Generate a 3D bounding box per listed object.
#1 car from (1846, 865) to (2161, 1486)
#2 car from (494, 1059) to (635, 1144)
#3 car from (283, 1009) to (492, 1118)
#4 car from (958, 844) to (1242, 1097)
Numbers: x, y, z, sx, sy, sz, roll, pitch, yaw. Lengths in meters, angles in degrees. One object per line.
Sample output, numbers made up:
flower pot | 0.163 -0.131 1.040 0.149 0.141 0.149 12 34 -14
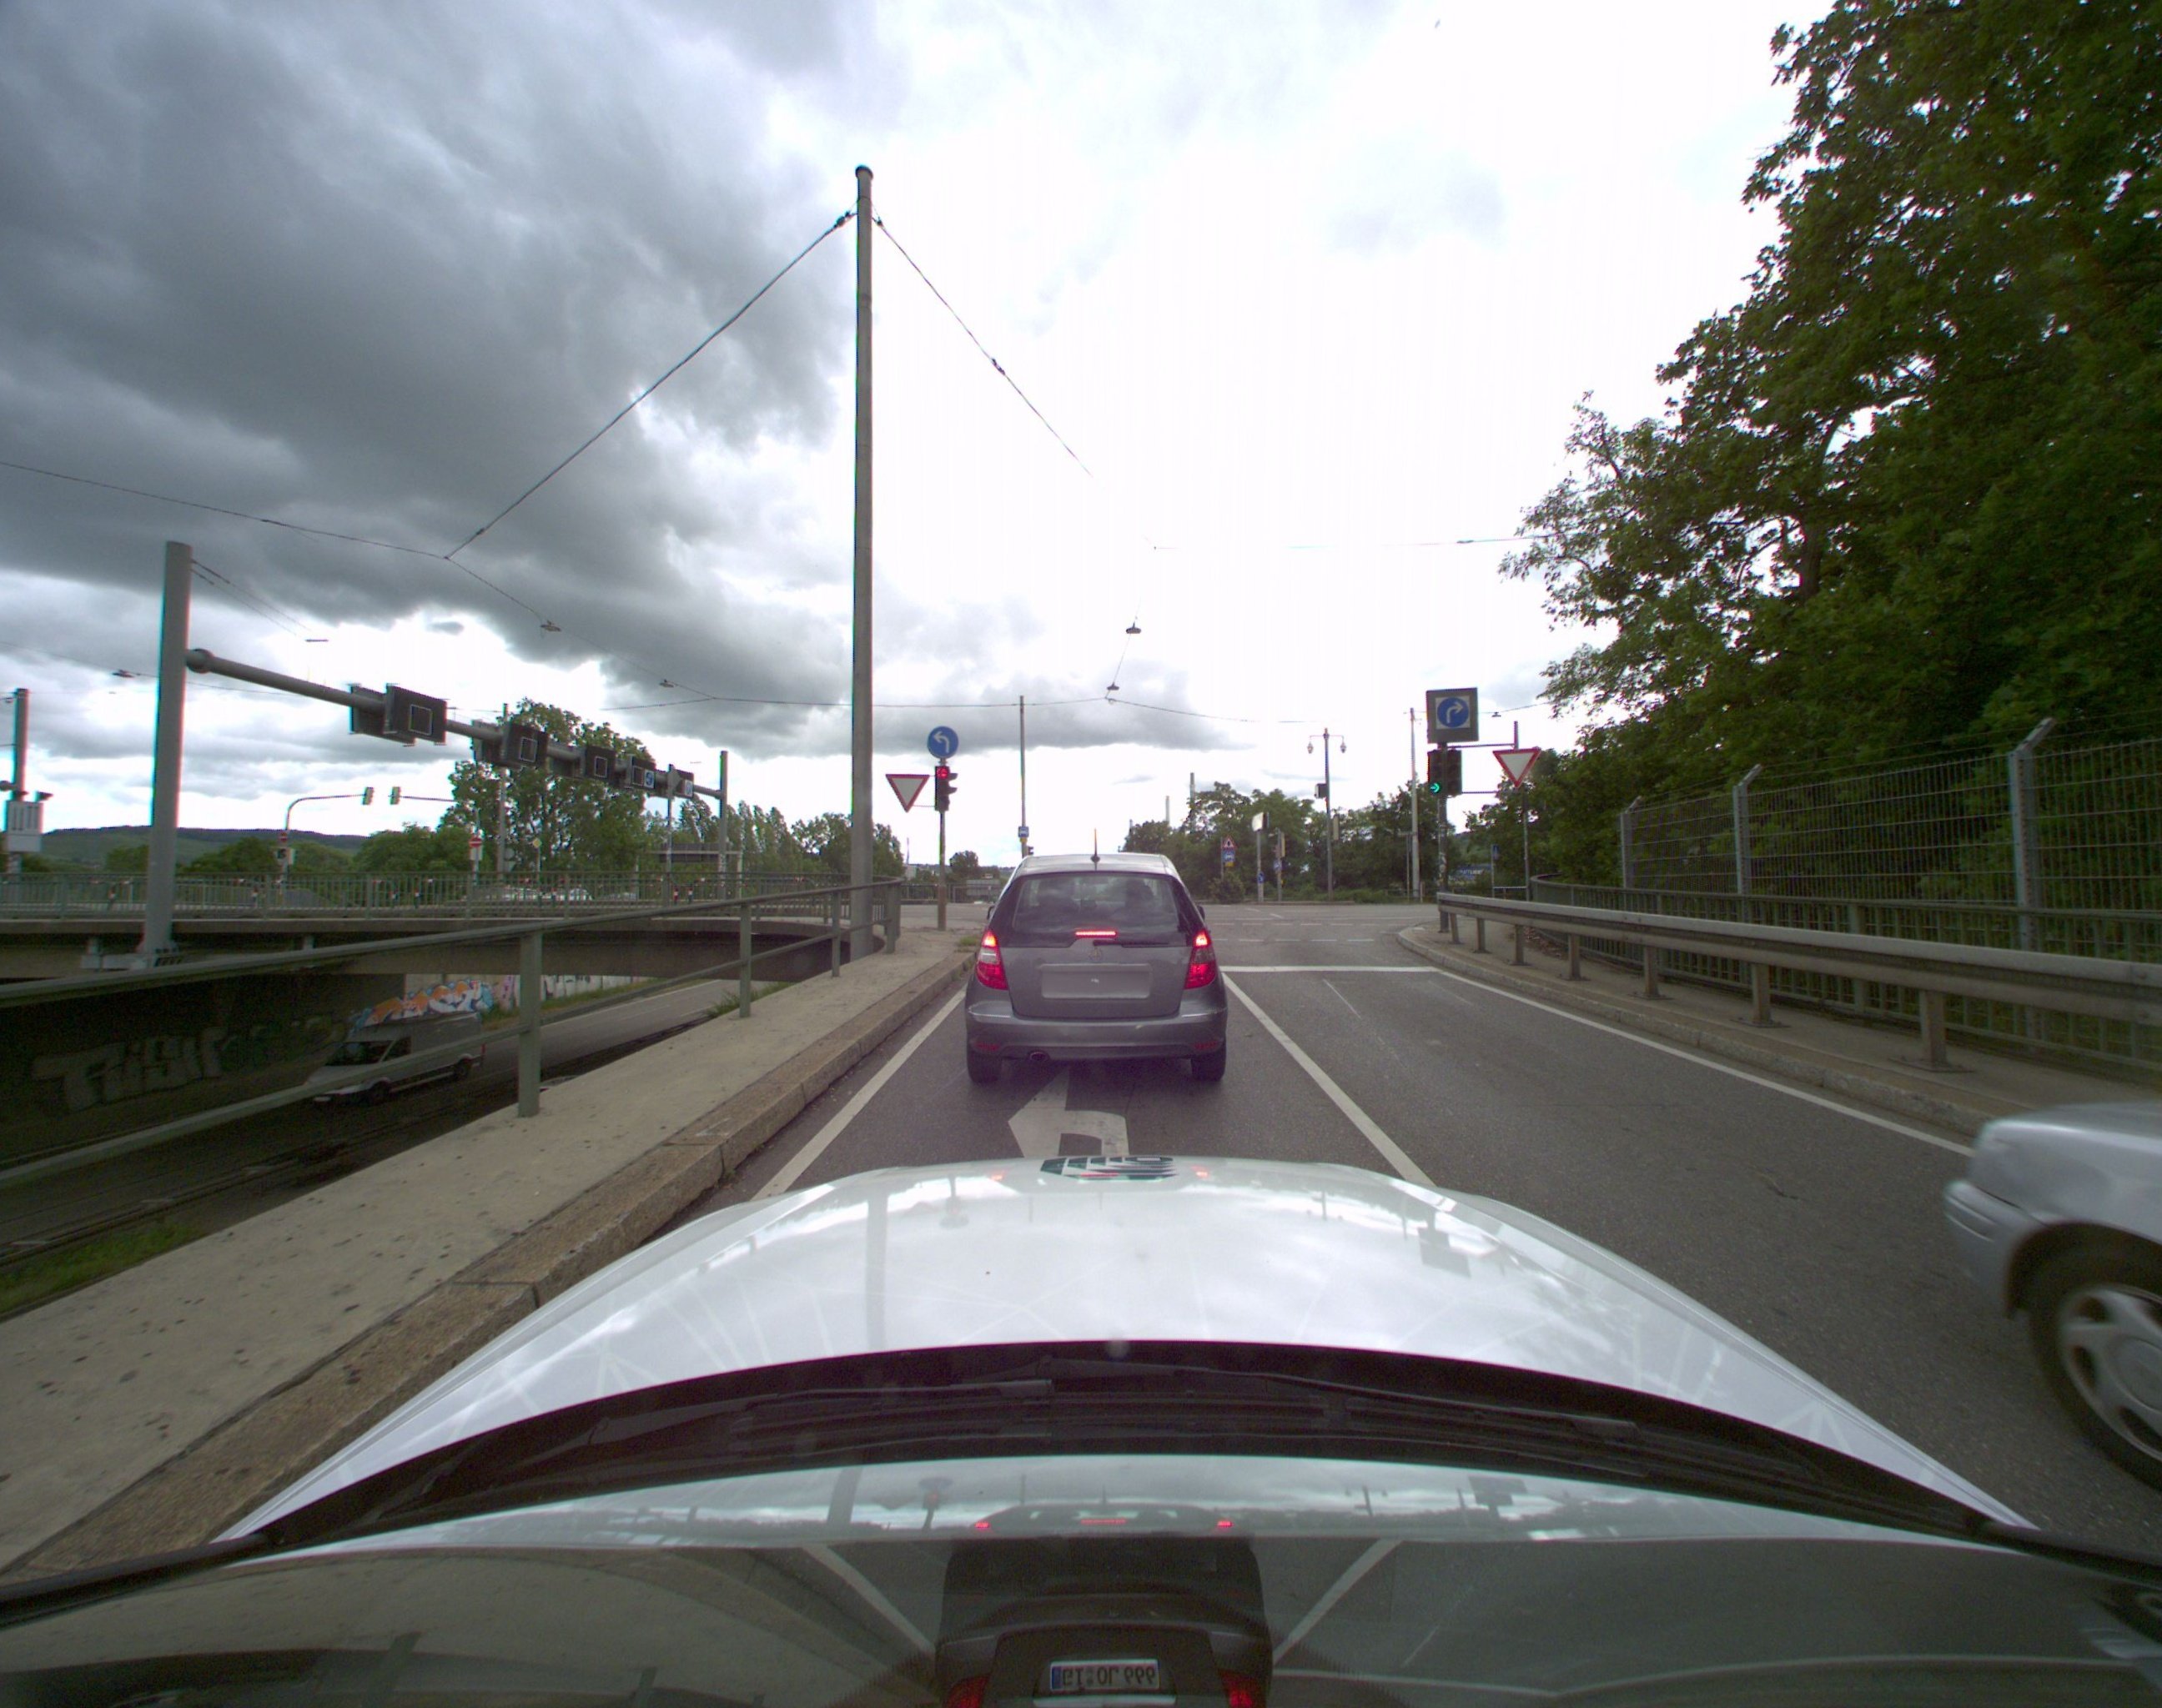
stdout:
car | 3.291 0.744 0.950 1.580 1.431 3.443 -1 0 1
car | -15.033 7.176 23.929 1.685 1.533 3.610 -1 -3 3
car | -24.777 7.397 29.553 2.158 2.595 6.104 -2 -3 2
car | 0.174 0.732 6.778 1.733 1.543 3.542 0 -1 2
